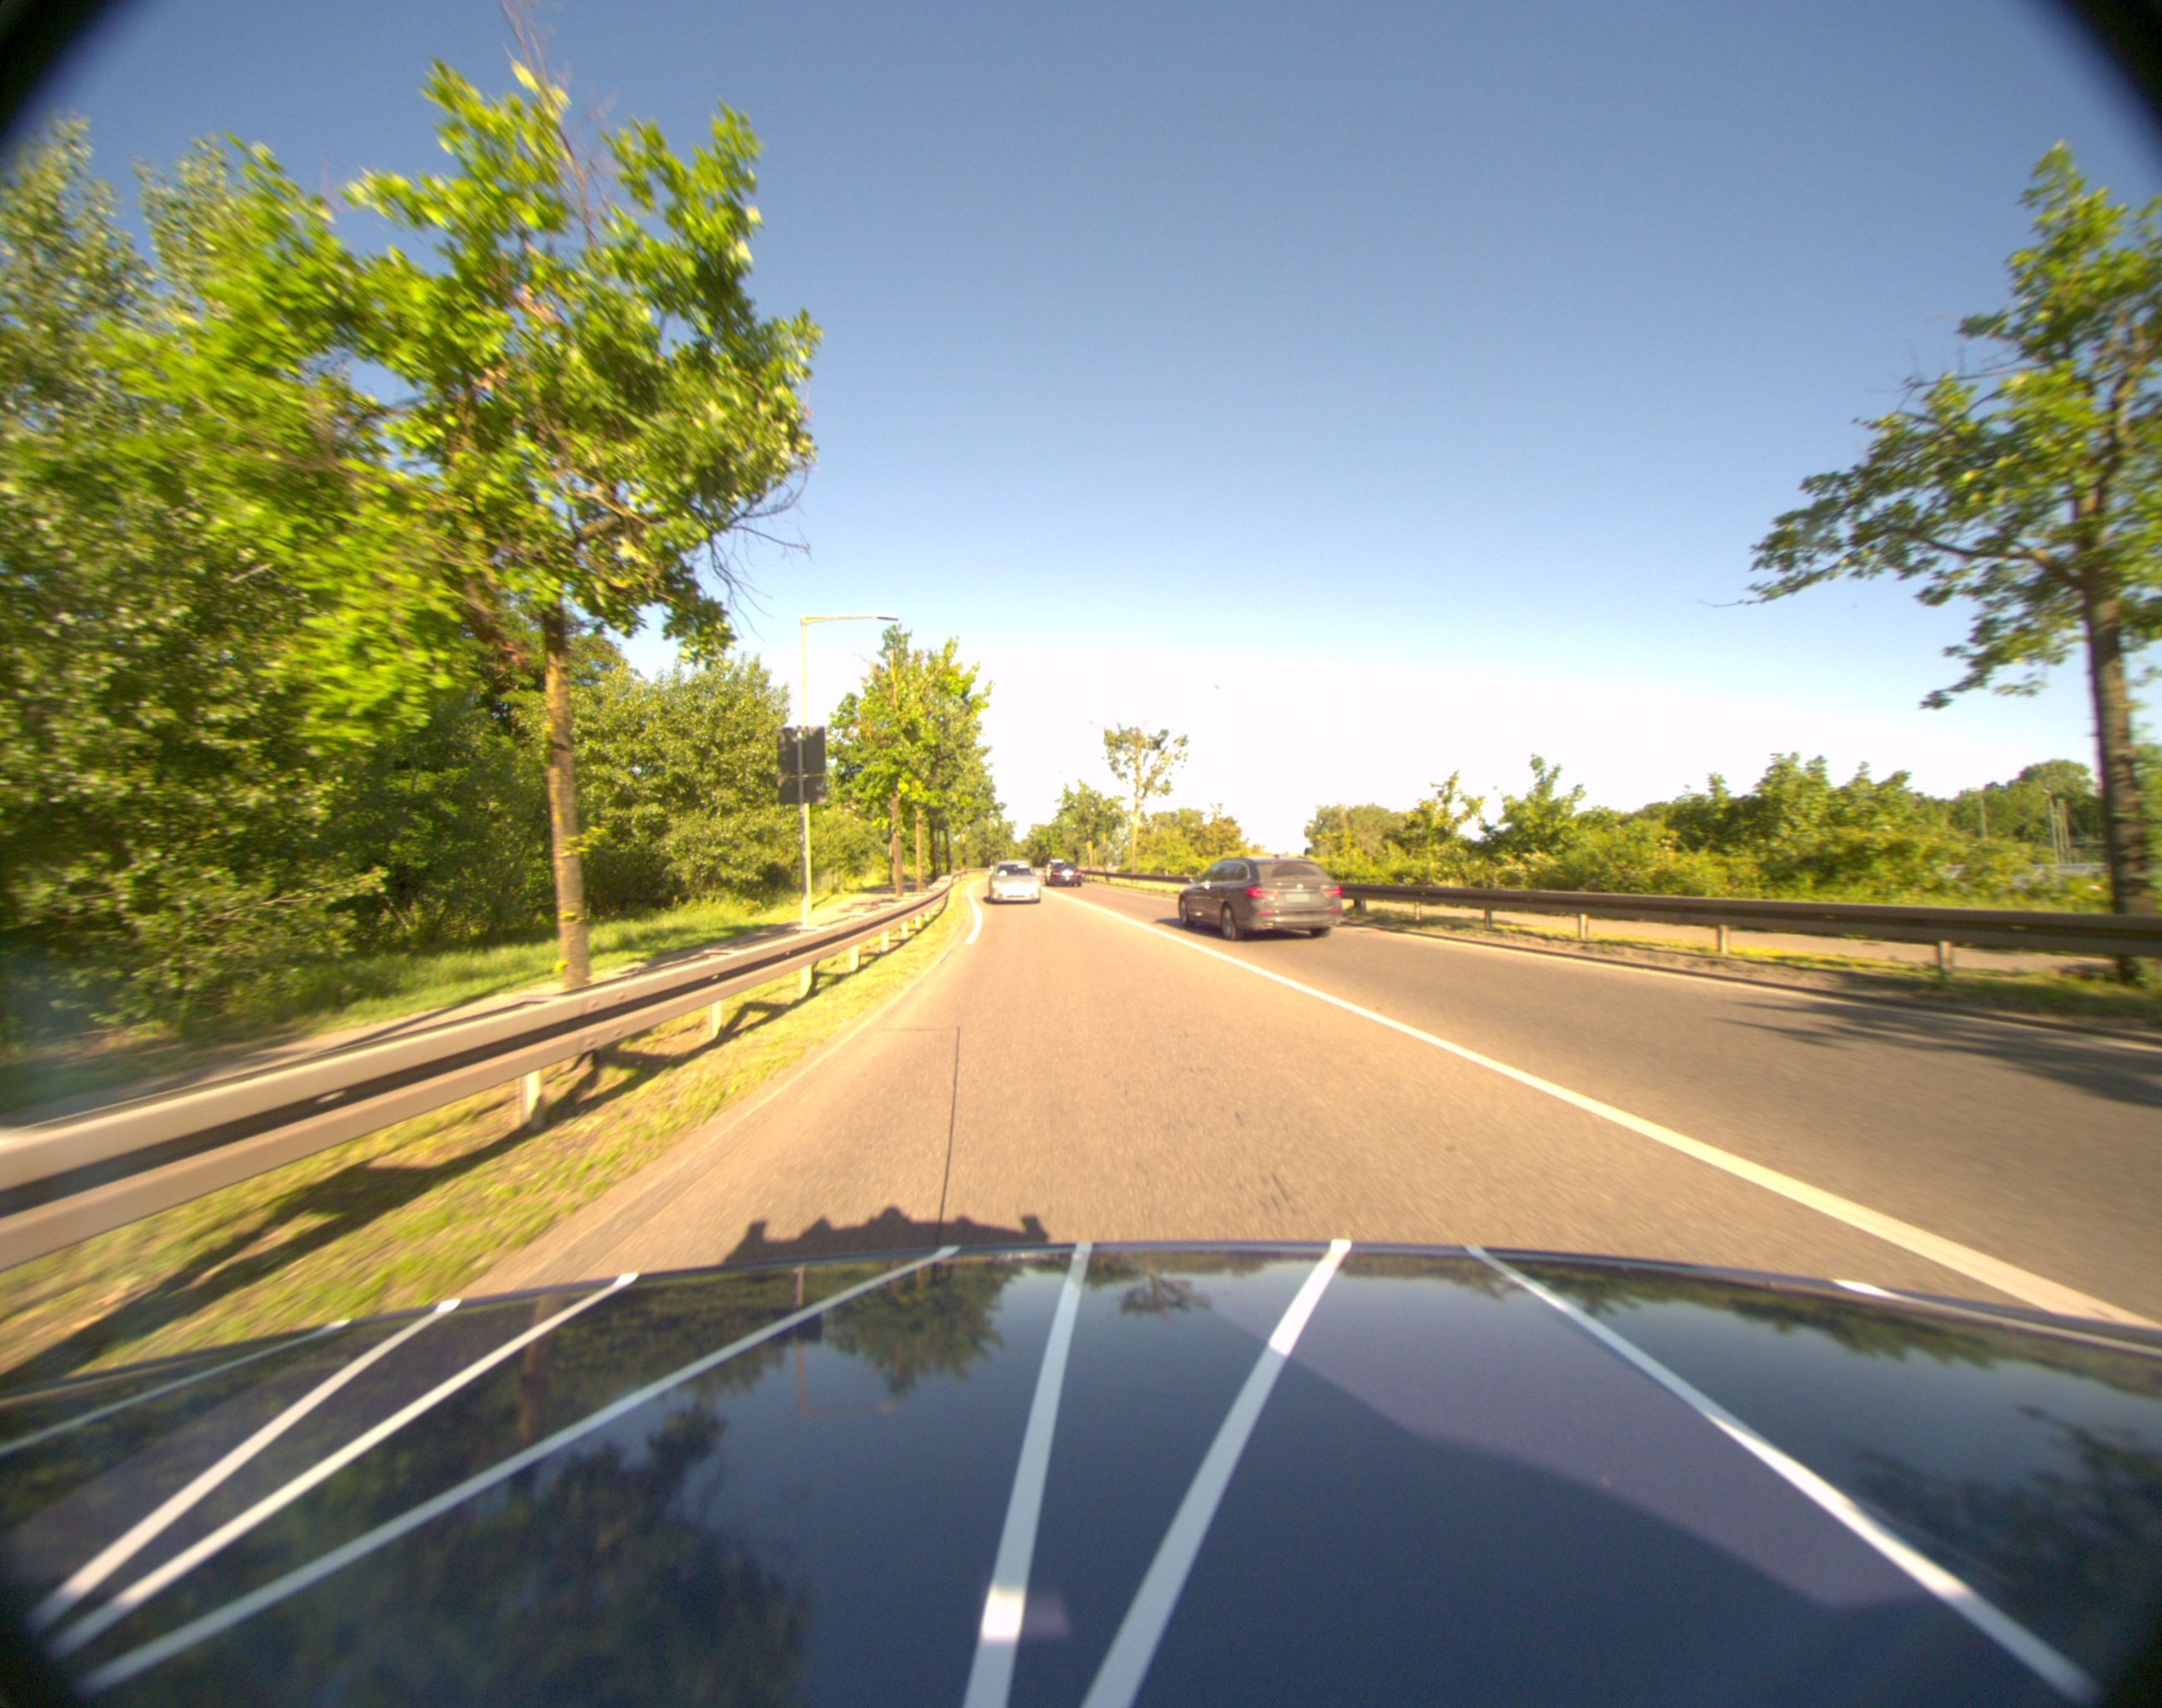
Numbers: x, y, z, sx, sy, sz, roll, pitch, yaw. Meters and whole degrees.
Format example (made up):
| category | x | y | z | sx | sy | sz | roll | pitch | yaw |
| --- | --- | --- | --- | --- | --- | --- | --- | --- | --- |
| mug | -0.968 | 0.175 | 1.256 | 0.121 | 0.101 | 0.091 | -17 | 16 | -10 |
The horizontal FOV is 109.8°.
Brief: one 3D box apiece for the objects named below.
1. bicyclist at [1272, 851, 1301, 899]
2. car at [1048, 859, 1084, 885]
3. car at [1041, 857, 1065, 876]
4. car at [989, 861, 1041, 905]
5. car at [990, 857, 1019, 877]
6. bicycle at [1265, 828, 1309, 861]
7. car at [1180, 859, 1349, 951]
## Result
| category | x | y | z | sx | sy | sz | roll | pitch | yaw |
| --- | --- | --- | --- | --- | --- | --- | --- | --- | --- |
| bicyclist | 7.049 | 0.708 | 26.121 | 0.653 | 1.614 | 0.873 | 0 | 0 | -9 |
| car | -0.934 | 0.990 | 44.003 | 1.696 | 1.432 | 4.213 | 0 | 0 | -7 |
| car | -2.624 | 1.130 | 70.015 | 1.734 | 1.648 | 3.979 | 0 | 0 | -9 |
| car | -2.385 | 0.970 | 26.884 | 1.684 | 1.433 | 3.856 | 0 | 0 | -7 |
| car | -6.224 | 1.038 | 61.612 | 2.151 | 1.558 | 4.195 | 1 | 0 | -8 |
| bicycle | 7.034 | -0.308 | 26.074 | 0.662 | 1.089 | 2.106 | 0 | 0 | -8 |
| car | 3.308 | 0.854 | 14.665 | 1.815 | 1.488 | 4.367 | 0 | 0 | -6 |
